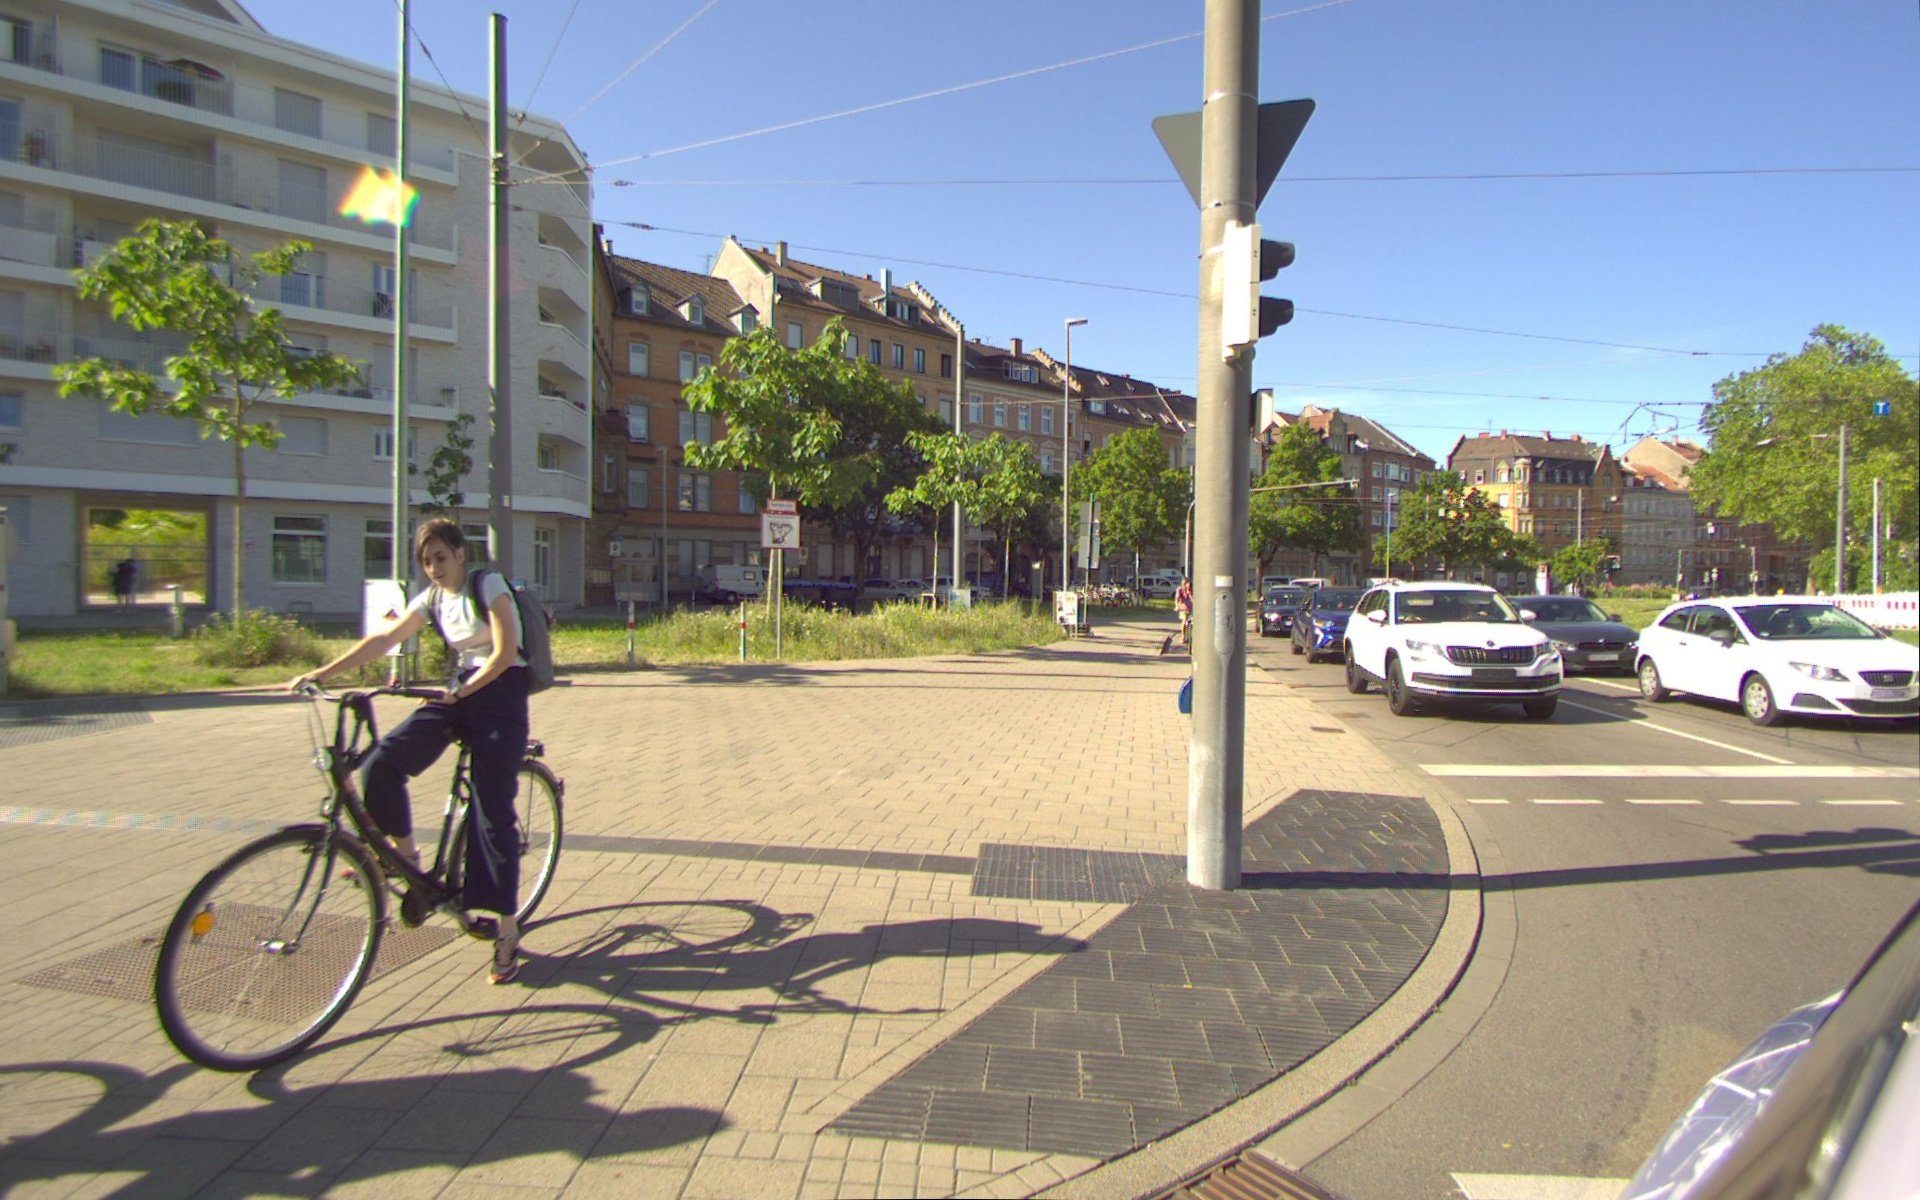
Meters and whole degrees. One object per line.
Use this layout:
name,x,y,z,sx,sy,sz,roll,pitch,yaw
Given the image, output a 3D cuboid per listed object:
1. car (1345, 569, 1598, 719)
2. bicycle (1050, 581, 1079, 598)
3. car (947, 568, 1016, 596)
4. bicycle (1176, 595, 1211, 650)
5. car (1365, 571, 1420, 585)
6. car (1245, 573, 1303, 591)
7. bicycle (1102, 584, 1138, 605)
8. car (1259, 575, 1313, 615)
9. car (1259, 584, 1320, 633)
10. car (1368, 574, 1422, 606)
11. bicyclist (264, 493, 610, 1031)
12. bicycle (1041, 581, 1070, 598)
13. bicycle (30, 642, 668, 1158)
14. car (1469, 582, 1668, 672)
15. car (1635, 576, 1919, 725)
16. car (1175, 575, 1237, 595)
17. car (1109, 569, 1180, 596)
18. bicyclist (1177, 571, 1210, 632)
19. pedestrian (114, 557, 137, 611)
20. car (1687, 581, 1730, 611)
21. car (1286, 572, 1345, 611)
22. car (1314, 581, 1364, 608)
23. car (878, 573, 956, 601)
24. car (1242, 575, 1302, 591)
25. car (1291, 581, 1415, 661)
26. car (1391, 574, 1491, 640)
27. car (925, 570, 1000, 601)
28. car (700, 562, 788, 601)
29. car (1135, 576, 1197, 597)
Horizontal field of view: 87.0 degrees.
car,6.518,0.469,13.463,1.845,1.650,4.324,-1,1,11
bicycle,6.254,-0.632,60.728,1.752,1.037,0.446,1,1,37
car,1.334,-1.117,62.469,3.940,1.683,1.992,0,1,14
bicycle,5.479,0.498,23.818,0.686,1.118,2.006,2,3,11
car,40.010,-2.024,93.664,4.335,1.225,1.992,0,1,14
car,25.727,-1.495,82.832,4.352,1.479,1.984,1,1,24
bicycle,8.105,-0.274,51.315,1.725,1.037,0.570,0,1,-15
car,13.438,-0.250,41.915,1.847,1.575,3.983,0,1,14
car,10.427,0.218,32.236,1.563,1.451,3.821,0,1,14
car,22.712,-0.556,52.744,1.862,1.575,3.951,1,1,34
bicyclist,-1.853,0.488,3.708,0.587,1.675,0.998,1,1,17
bicycle,5.665,-0.623,60.006,1.752,1.037,0.446,1,1,37
bicycle,-1.892,0.795,3.580,0.687,1.118,2.002,1,2,16
car,11.124,0.416,18.898,1.813,1.448,4.468,-1,1,12
car,9.902,0.486,12.079,1.643,1.448,3.823,-3,0,11
car,17.978,-1.108,74.168,4.335,1.479,1.992,0,1,14
car,12.792,-1.226,70.141,4.723,1.793,1.725,0,1,14
bicyclist,5.527,0.024,24.006,0.686,1.394,0.736,2,3,12
pedestrian,-25.989,-0.509,31.505,0.513,1.668,0.471,0,1,-36
car,45.264,-0.280,61.187,1.763,1.772,3.941,1,1,41
car,18.920,-0.479,53.782,1.862,2.006,4.598,1,1,34
car,21.936,-0.339,58.444,1.862,1.465,3.861,1,1,34
car,-2.364,-0.729,55.945,3.940,1.482,1.992,0,1,14
car,24.713,-1.334,80.241,4.352,1.249,1.984,1,1,24
car,8.524,0.374,22.281,1.845,1.575,3.987,0,1,11
car,13.418,0.140,28.475,1.744,1.705,4.308,-1,1,15
car,0.143,-0.836,57.517,3.940,1.683,1.992,0,1,14
car,-12.300,-1.057,57.833,4.560,2.139,1.998,-1,1,-40
car,14.738,-0.978,72.400,4.335,1.525,1.992,0,1,14
